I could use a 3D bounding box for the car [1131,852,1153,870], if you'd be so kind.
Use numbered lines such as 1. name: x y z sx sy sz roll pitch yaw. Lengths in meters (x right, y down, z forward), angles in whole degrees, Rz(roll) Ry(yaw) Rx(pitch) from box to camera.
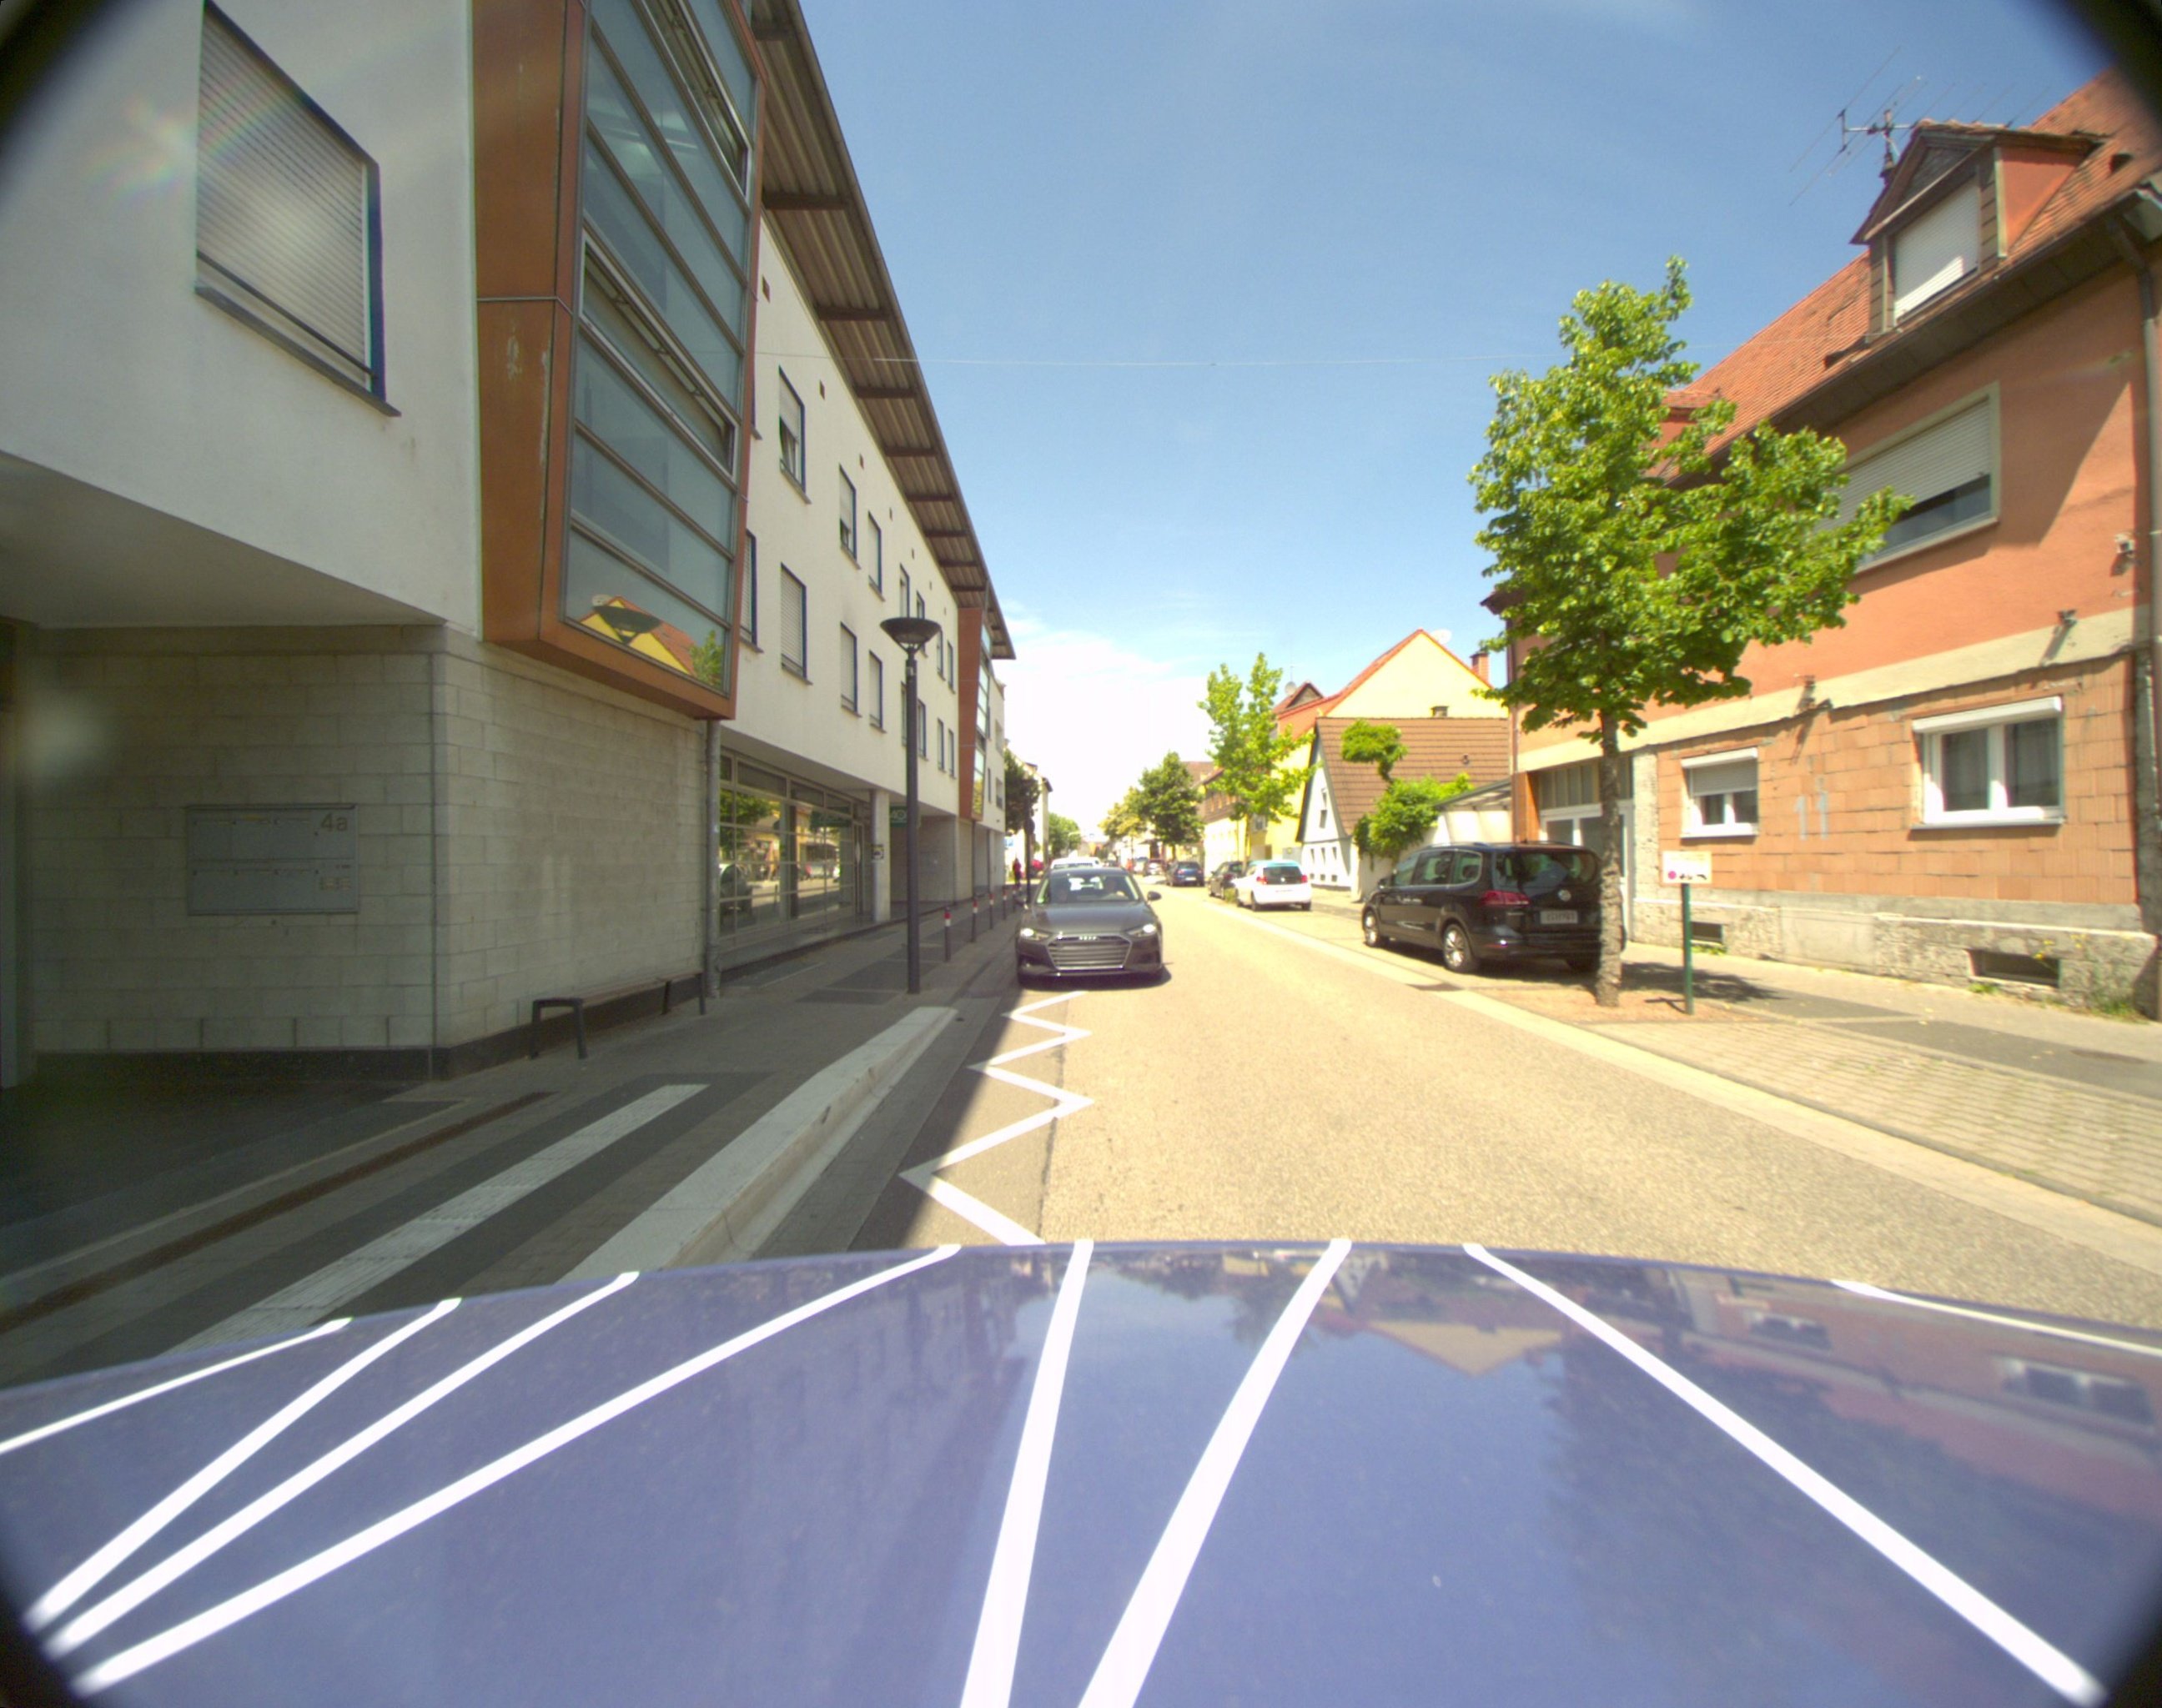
1. car: 6.261 0.686 78.276 1.695 1.742 3.999 -3 0 -1

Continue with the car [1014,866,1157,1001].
1. car: 0.060 0.931 10.643 1.581 1.424 4.065 -1 0 0

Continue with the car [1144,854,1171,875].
1. car: 6.148 0.802 61.322 1.753 1.566 4.158 -1 0 1

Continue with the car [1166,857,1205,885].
1. car: 5.725 0.897 41.986 1.660 1.399 4.158 -1 0 1

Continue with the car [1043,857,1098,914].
1. car: -0.292 0.912 24.022 1.581 1.620 4.065 0 0 0

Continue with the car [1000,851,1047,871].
1. car: -5.299 0.610 70.644 4.203 1.849 2.000 0 0 0

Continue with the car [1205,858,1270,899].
1. car: 5.902 0.885 29.067 1.649 1.422 4.098 0 0 1

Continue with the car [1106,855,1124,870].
1. car: 3.501 0.859 79.673 1.693 1.464 4.000 0 0 0

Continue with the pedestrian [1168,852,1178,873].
1. pedestrian: 6.985 0.679 57.965 0.663 1.592 0.771 -1 0 1

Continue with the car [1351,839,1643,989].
1. car: 5.652 0.704 11.105 1.780 1.716 4.519 -1 0 0

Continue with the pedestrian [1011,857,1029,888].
1. pedestrian: -3.204 0.940 39.802 0.825 1.579 0.919 2 0 1

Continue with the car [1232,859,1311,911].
1. car: 5.641 0.878 22.881 1.557 1.422 3.410 0 0 1

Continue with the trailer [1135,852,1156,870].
1. trailer: 6.242 0.700 73.892 1.493 1.571 3.883 -4 0 -2

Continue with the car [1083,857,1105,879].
1. car: 0.973 1.024 57.363 1.581 1.620 4.065 0 0 0

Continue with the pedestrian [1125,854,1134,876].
1. pedestrian: 3.713 0.820 57.885 0.643 1.645 0.624 0 1 0
